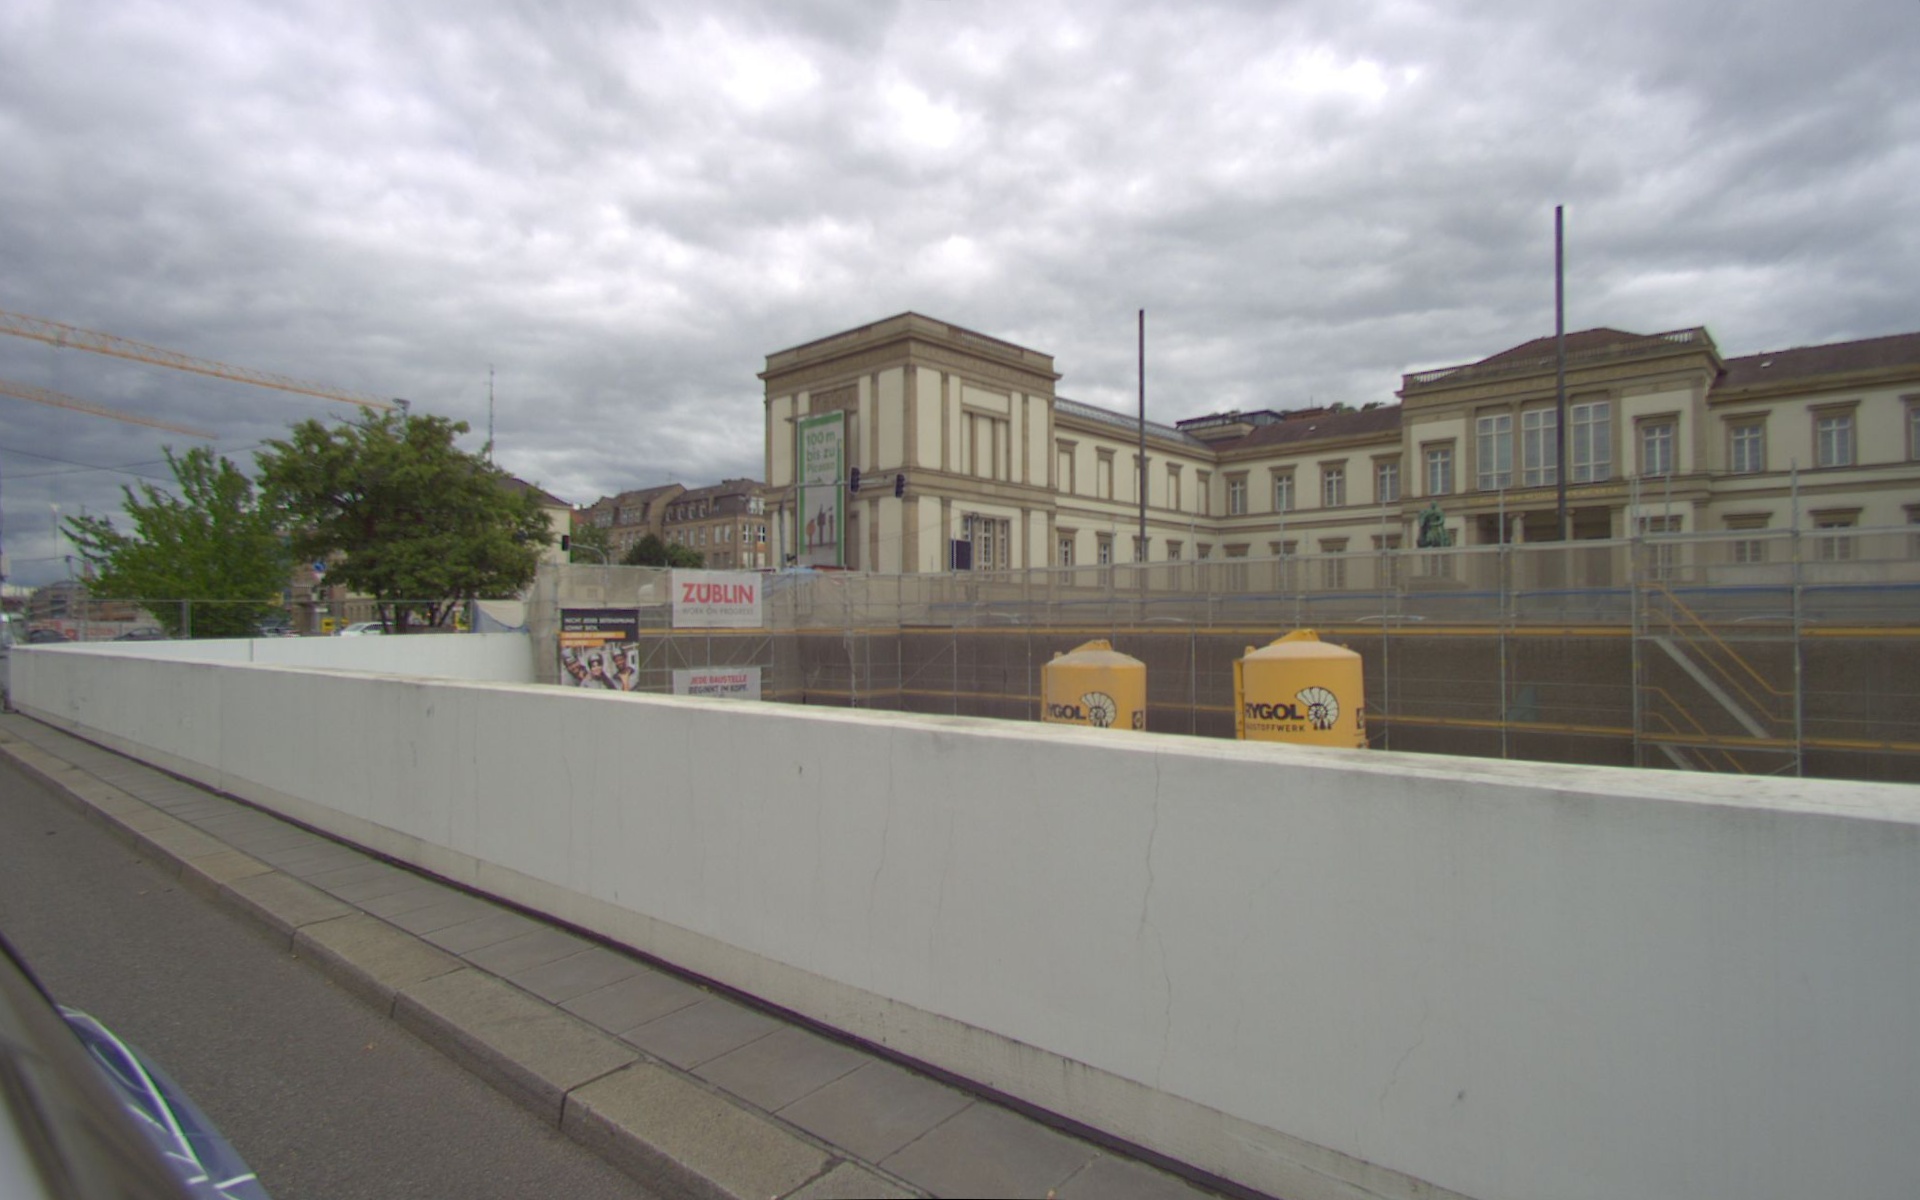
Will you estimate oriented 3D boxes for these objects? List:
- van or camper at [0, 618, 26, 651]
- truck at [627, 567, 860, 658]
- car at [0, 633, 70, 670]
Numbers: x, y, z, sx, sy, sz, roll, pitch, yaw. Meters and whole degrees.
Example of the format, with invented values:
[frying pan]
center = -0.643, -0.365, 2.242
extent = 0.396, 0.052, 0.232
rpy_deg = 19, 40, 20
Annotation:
[van or camper]
center = -68.904, 2.482, 72.461
extent = 1.965, 2.244, 4.013
rpy_deg = 0, 0, -28
[truck]
center = -11.782, 0.829, 52.688
extent = 16.614, 4.114, 2.885
rpy_deg = -2, -3, 43
[car]
center = -41.380, 2.241, 44.147
extent = 1.848, 1.431, 4.111
rpy_deg = -1, 0, -6
